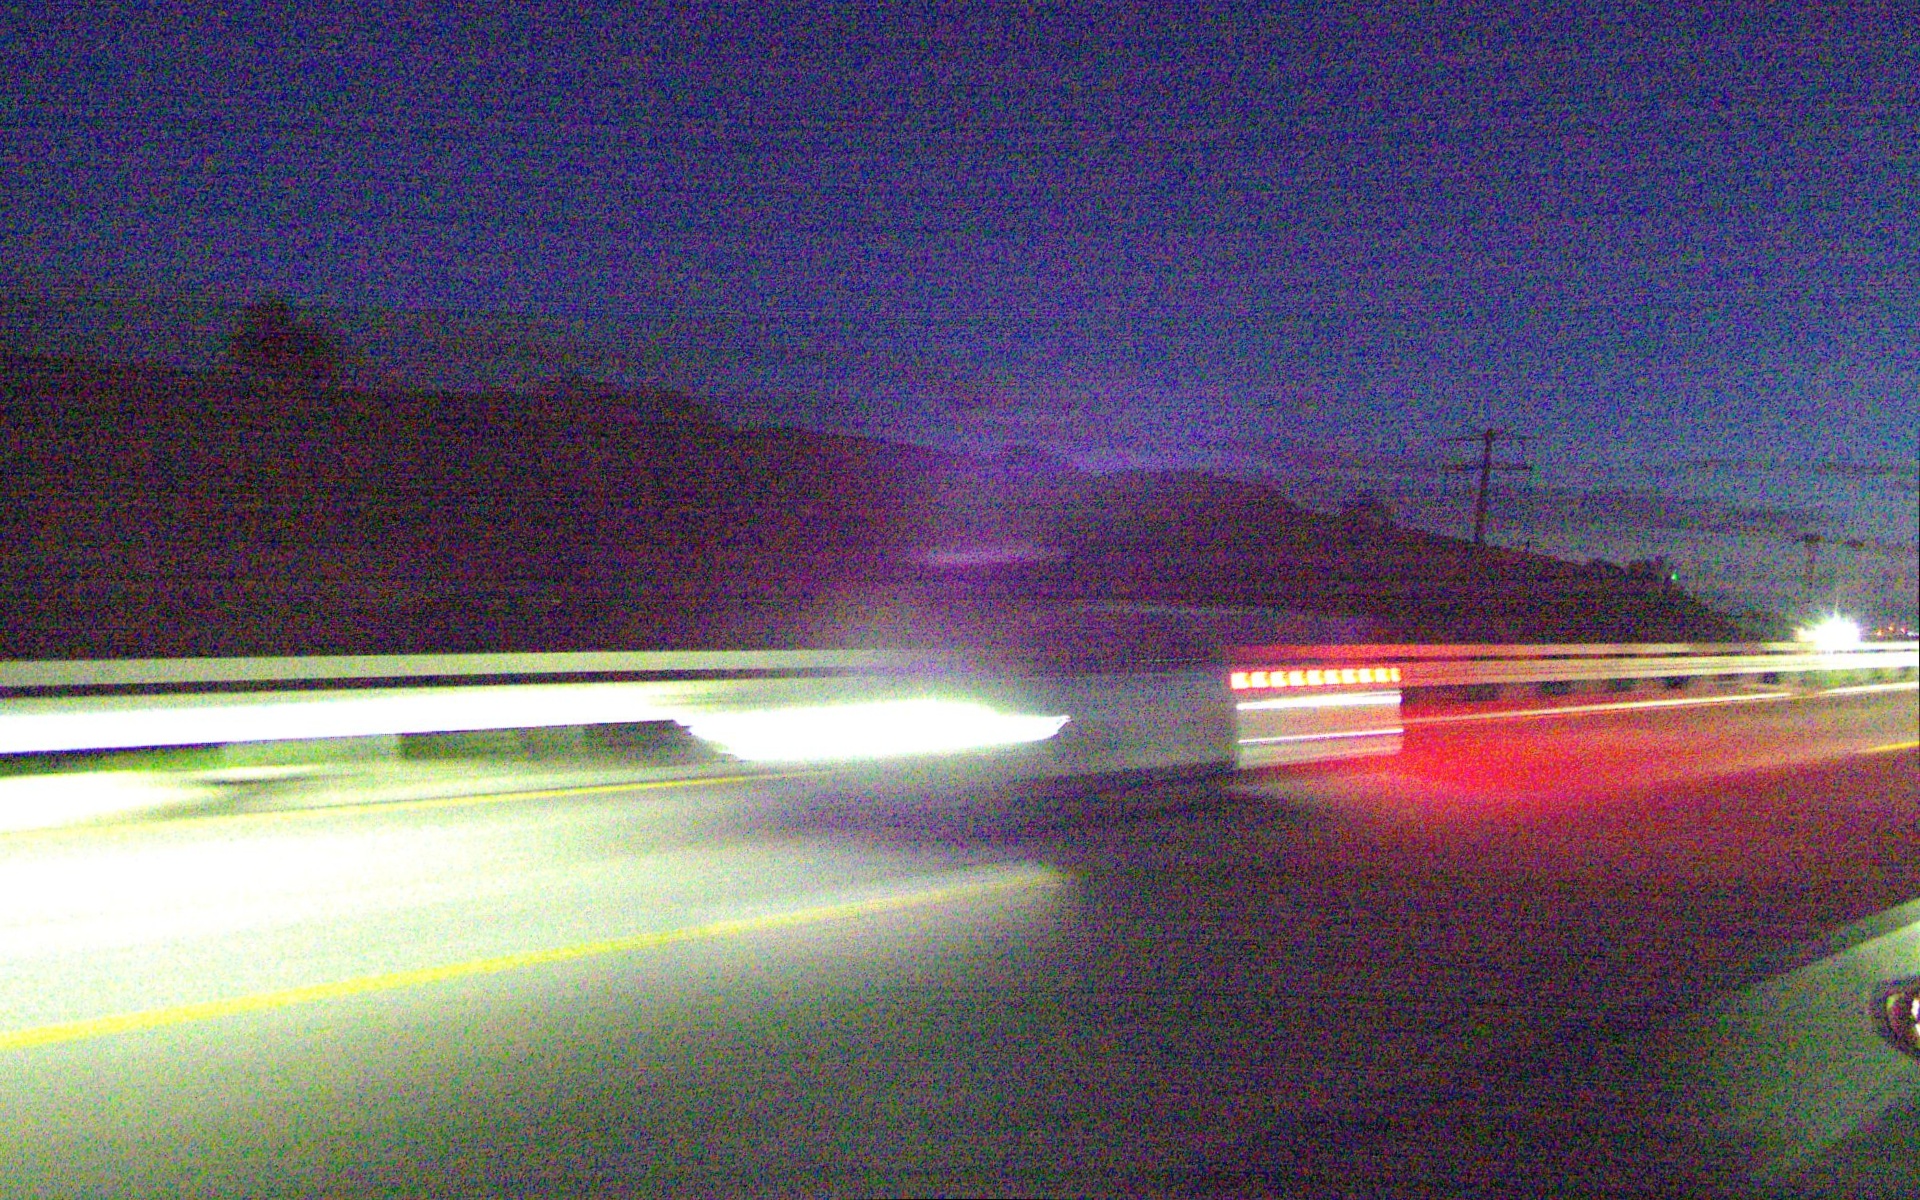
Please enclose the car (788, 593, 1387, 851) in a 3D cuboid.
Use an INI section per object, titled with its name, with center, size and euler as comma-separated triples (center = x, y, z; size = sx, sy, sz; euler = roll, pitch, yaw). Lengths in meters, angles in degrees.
[car]
center = 1.102, 0.777, 7.608
size = 4.437, 1.462, 1.703
euler = 2, -2, -32
